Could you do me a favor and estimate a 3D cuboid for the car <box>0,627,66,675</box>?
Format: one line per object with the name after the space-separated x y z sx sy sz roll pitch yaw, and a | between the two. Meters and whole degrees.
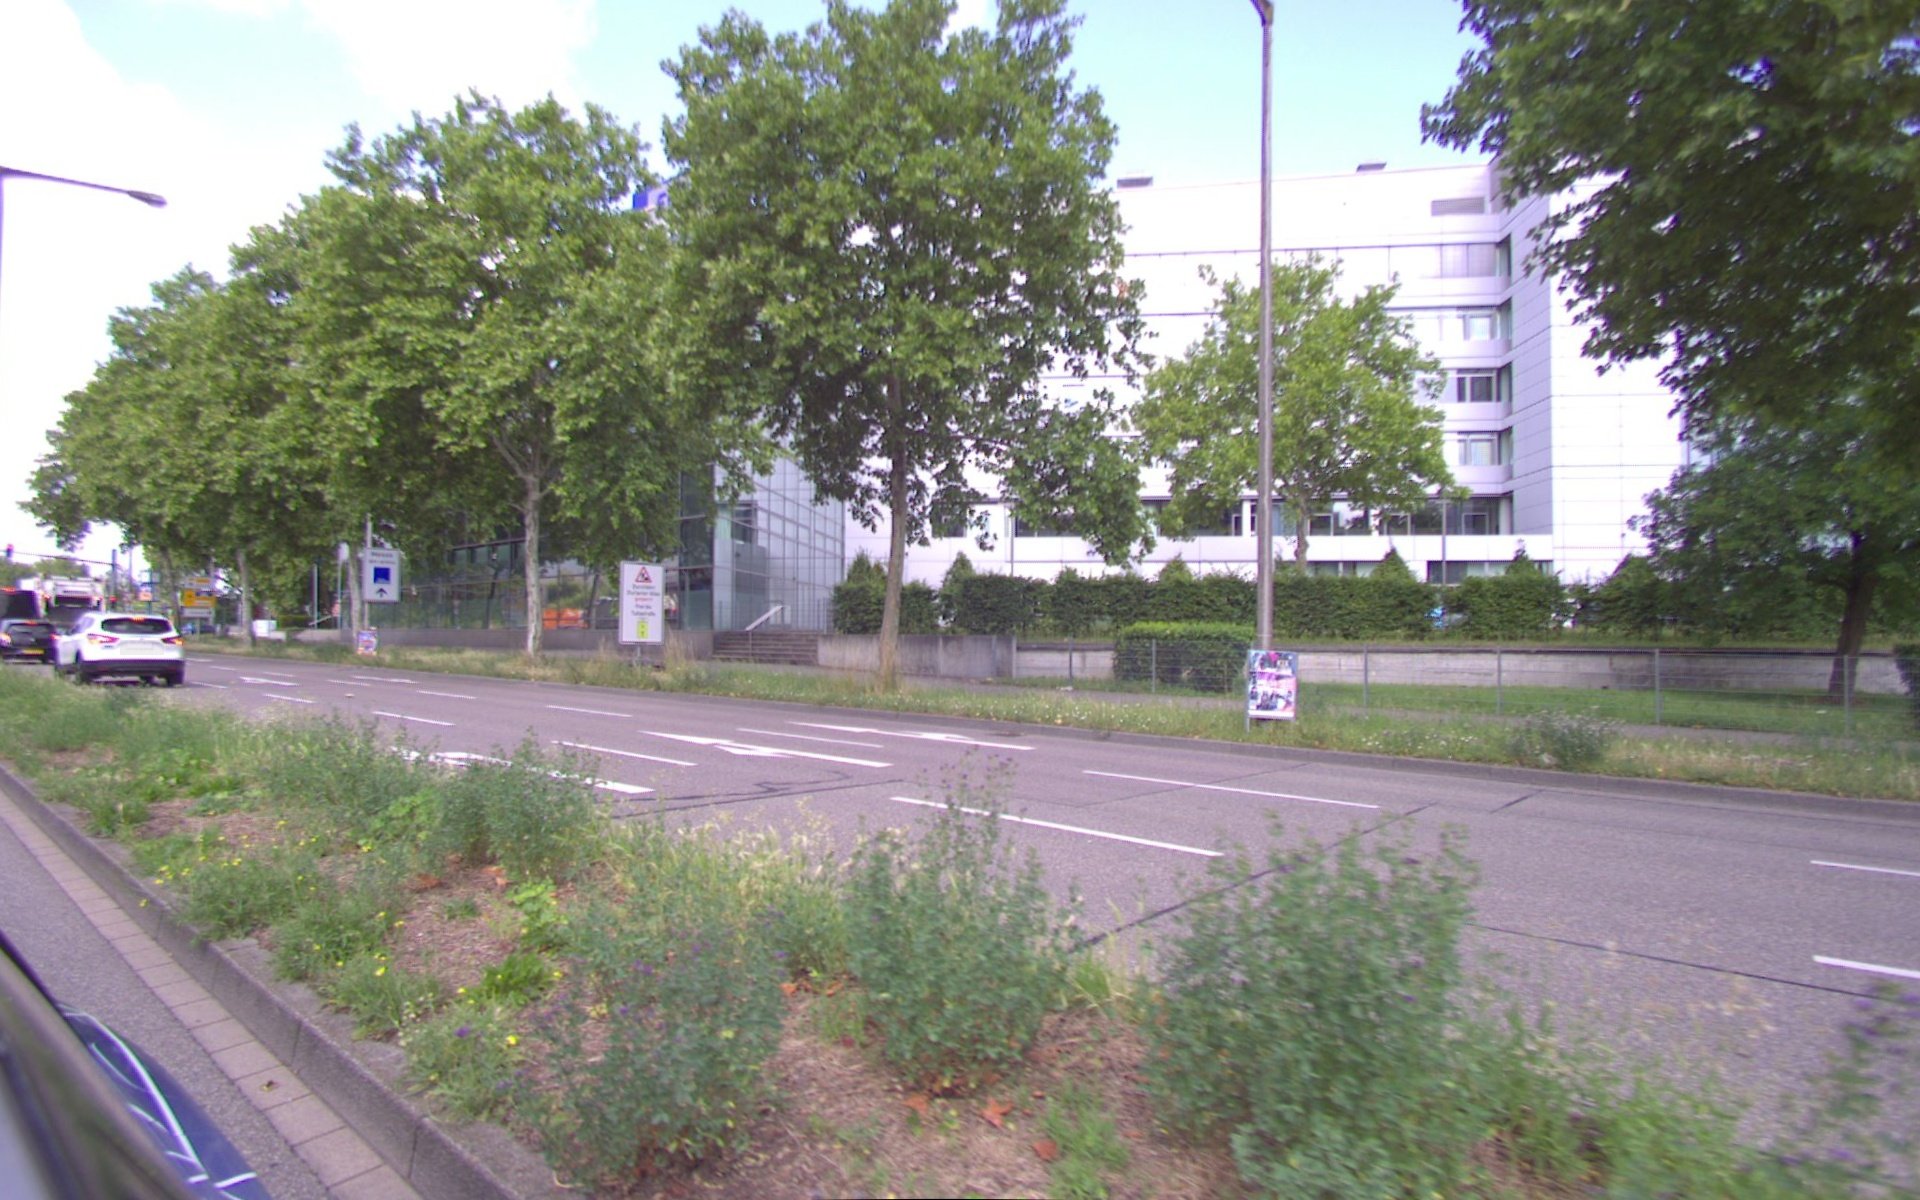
-31.015 1.637 33.357 3.937 1.475 1.677 -1 -3 40 | car

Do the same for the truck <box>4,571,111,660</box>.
-43.531 0.821 48.675 10.157 3.917 2.621 -1 -3 42 | truck

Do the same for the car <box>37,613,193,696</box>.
-18.755 1.182 22.404 4.347 1.652 1.796 -1 -4 39 | car

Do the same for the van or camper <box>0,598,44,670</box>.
-38.175 1.324 39.851 6.710 2.680 2.083 -1 -3 39 | van or camper
